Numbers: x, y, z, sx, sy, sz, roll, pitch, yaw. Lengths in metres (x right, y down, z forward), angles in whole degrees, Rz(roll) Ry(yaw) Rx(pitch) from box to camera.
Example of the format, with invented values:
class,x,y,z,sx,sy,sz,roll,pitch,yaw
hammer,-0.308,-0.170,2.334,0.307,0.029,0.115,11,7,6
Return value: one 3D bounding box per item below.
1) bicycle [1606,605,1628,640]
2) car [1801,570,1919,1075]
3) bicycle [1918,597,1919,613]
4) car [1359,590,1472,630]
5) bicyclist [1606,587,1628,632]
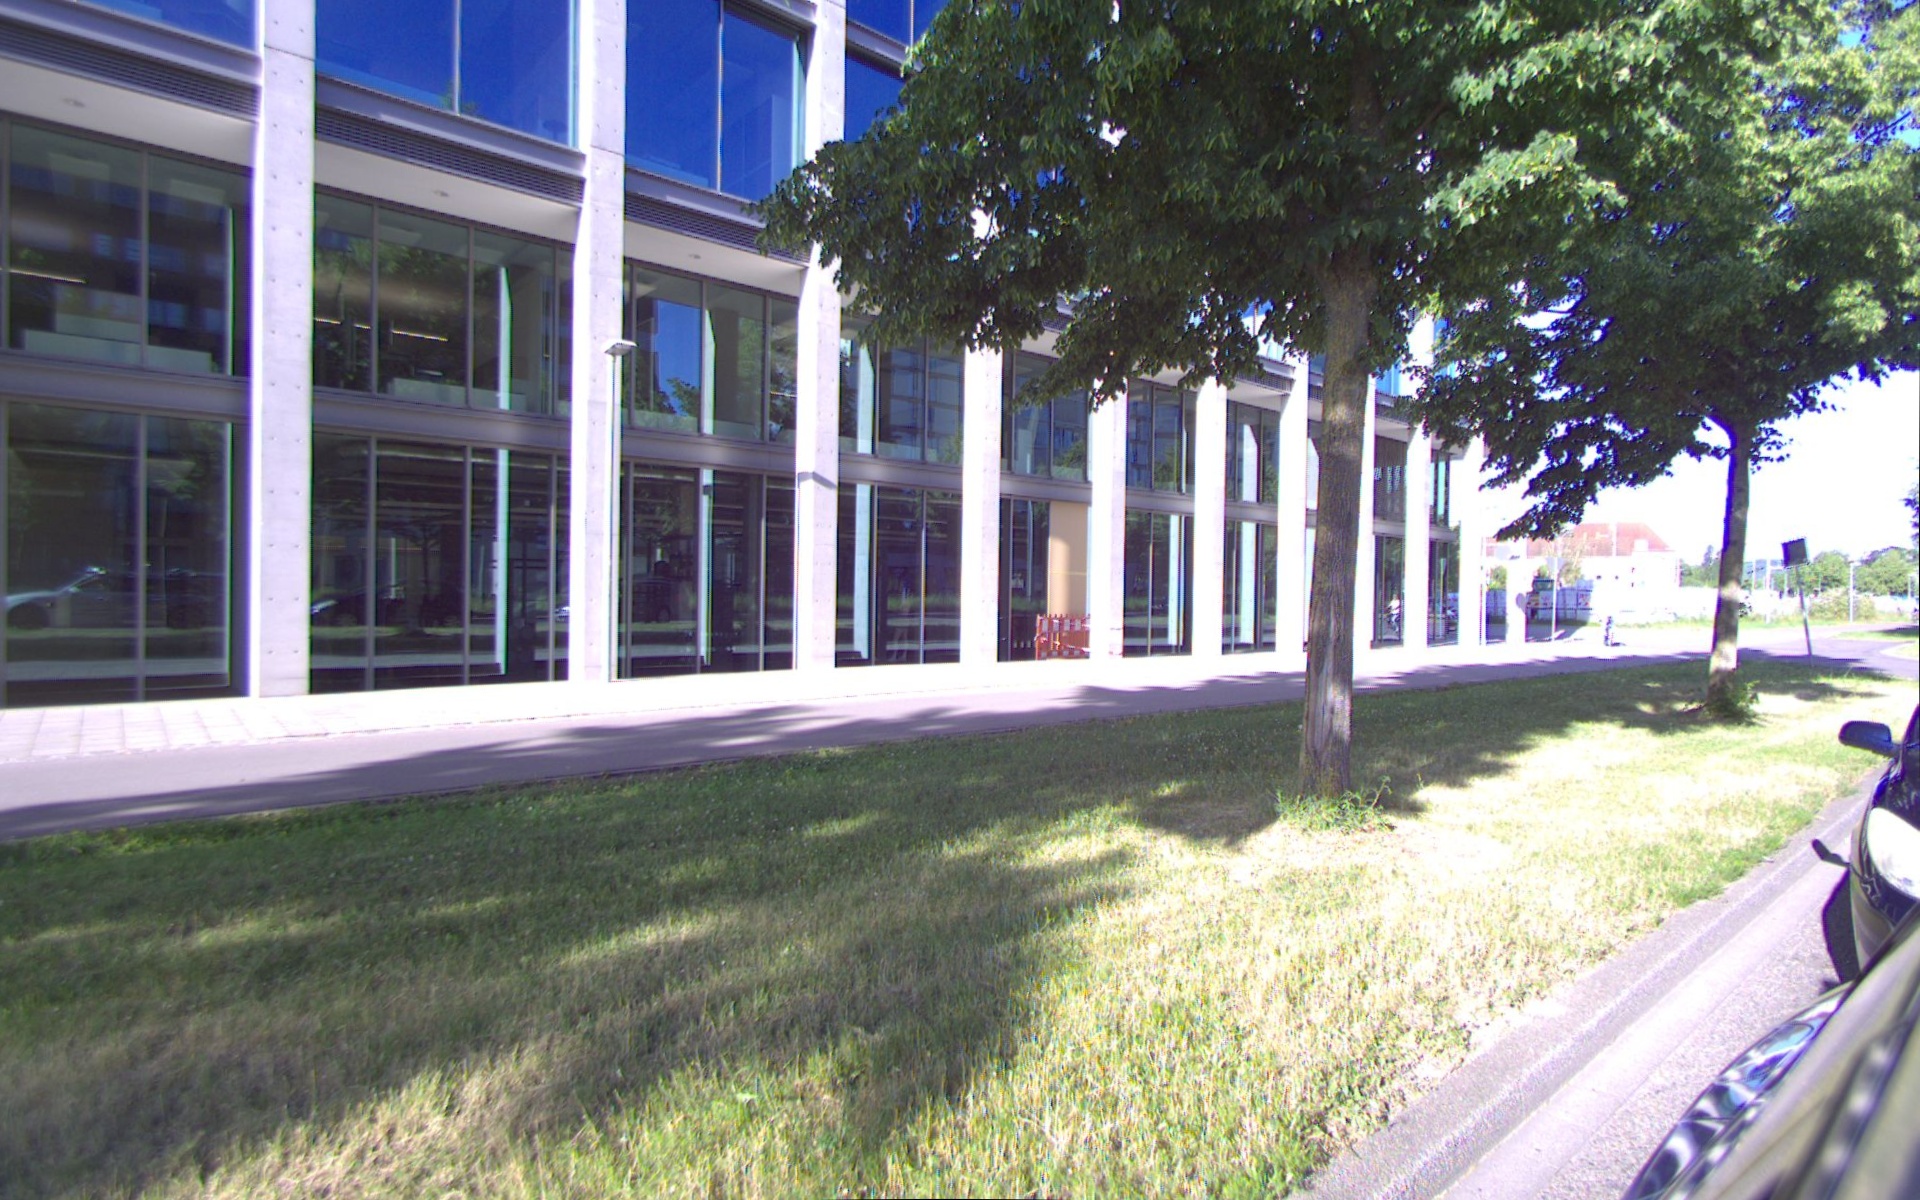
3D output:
class,x,y,z,sx,sy,sz,roll,pitch,yaw
bicycle,23.551,0.804,36.305,0.587,1.170,1.905,3,2,33
car,4.930,0.668,3.954,4.403,1.500,1.845,0,1,-41
bicycle,84.040,0.417,87.825,3.930,1.380,0.930,0,1,-41
car,19.521,0.397,43.488,1.963,1.598,3.997,0,1,-38
bicyclist,23.568,0.330,36.289,0.587,1.558,0.691,3,1,33
